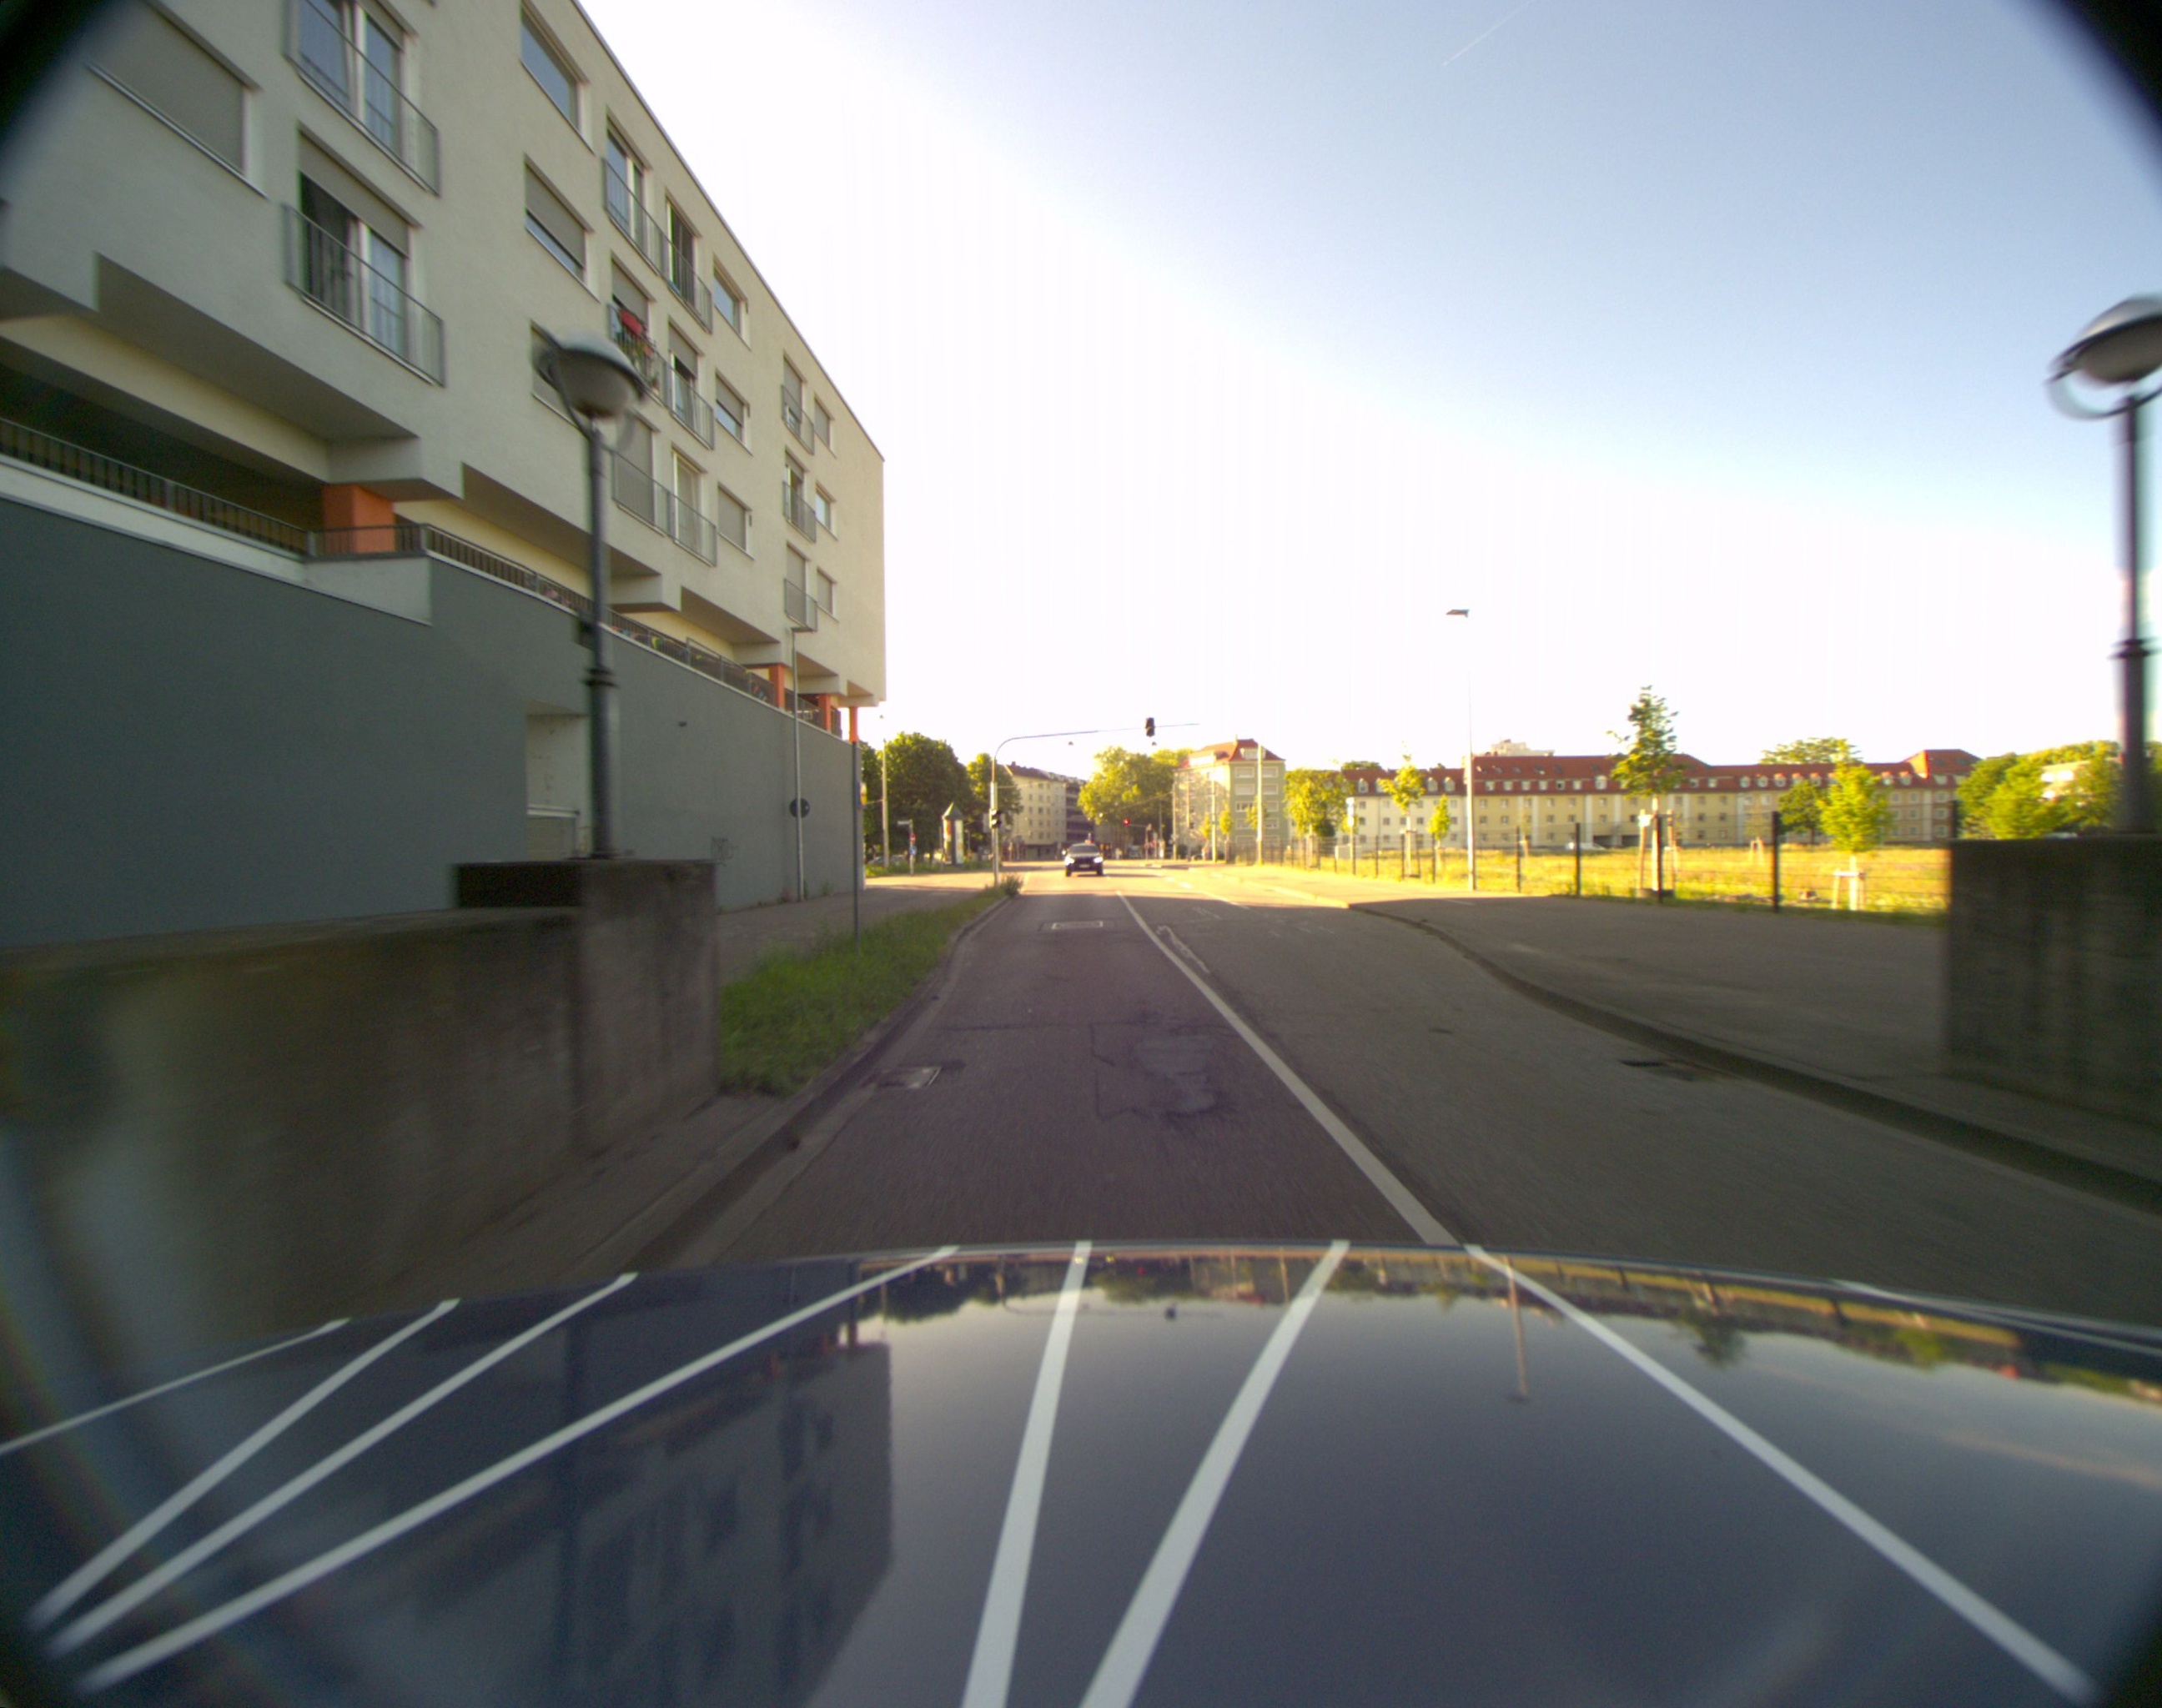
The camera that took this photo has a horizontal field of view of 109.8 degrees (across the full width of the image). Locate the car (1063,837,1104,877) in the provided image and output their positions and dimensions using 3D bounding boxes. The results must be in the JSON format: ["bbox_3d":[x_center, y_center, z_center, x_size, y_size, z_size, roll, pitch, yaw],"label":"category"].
[{"bbox_3d":[0.062,0.124,41.020,1.941,1.923,4.522,-3,2,-2],"label":"car"}]

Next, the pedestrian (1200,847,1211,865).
[{"bbox_3d":[11.351,0.198,69.252,0.834,1.620,1.181,-3,1,3],"label":"pedestrian"}]

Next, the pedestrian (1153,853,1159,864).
[{"bbox_3d":[14.400,0.812,145.469,0.695,1.953,0.929,-2,2,30],"label":"pedestrian"}]

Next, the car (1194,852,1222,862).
[{"bbox_3d":[20.444,0.519,122.048,4.204,1.484,1.943,-1,-1,2],"label":"car"}]

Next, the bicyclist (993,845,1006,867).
[{"bbox_3d":[-6.141,0.145,57.453,0.813,1.590,1.149,-1,0,0],"label":"bicyclist"}]

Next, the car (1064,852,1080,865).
[{"bbox_3d":[-1.025,0.539,87.940,1.702,1.432,3.646,-3,-1,-2],"label":"car"}]

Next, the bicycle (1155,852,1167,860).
[{"bbox_3d":[15.163,0.348,143.682,2.047,1.454,0.727,1,4,29],"label":"bicycle"}]

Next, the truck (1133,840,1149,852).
[{"bbox_3d":[16.473,-2.234,209.189,2.339,2.956,8.040,-3,2,19],"label":"truck"}]

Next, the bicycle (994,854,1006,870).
[{"bbox_3d":[-6.103,0.623,57.292,0.720,1.185,2.001,-1,0,0],"label":"bicycle"}]

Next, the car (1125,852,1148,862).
[{"bbox_3d":[11.119,0.590,152.597,4.140,1.631,1.777,-3,2,22],"label":"car"}]
